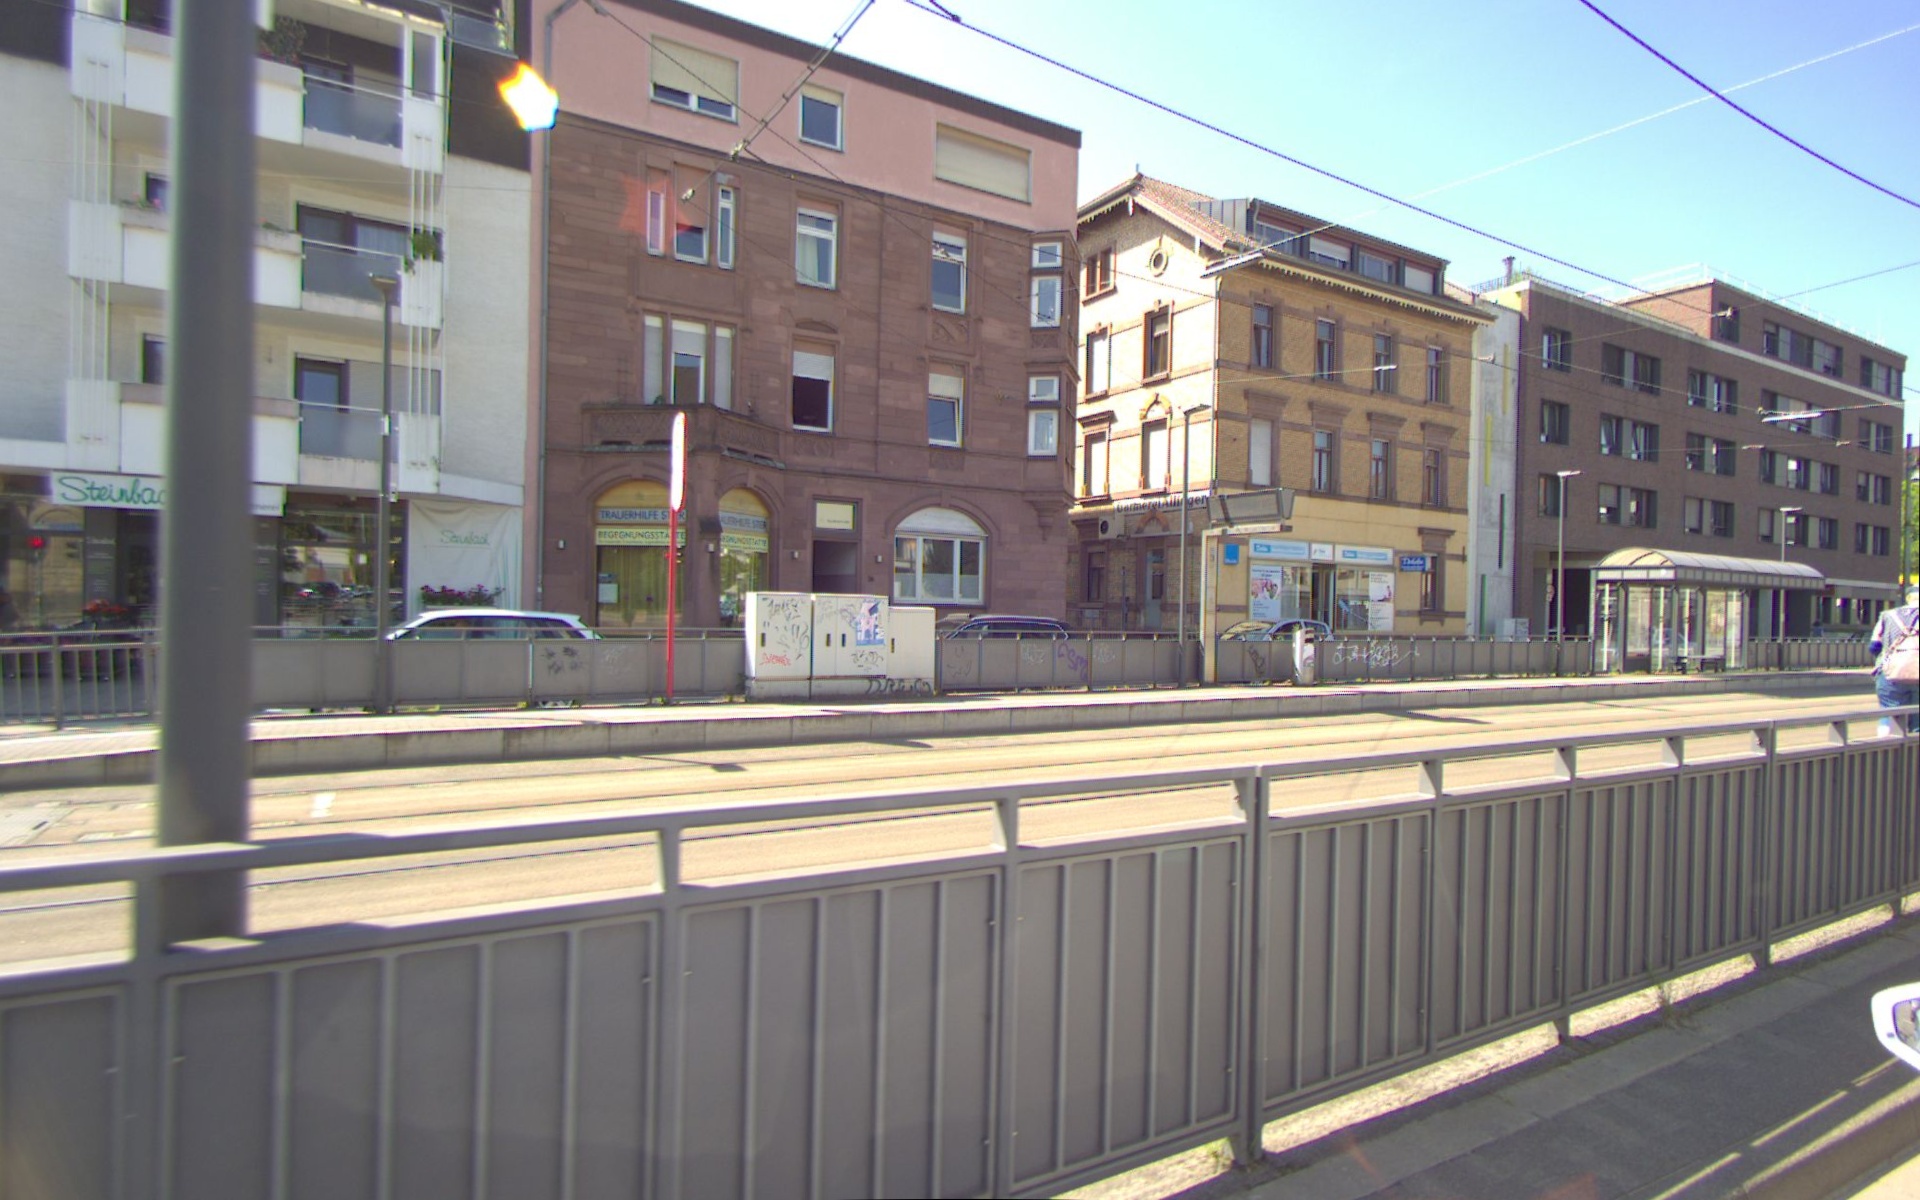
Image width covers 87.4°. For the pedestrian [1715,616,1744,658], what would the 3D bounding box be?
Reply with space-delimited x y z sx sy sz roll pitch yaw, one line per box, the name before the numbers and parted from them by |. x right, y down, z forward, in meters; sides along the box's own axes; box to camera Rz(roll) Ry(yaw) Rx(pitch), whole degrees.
pedestrian | 34.056 1.621 44.468 0.953 1.814 0.721 1 -1 -31

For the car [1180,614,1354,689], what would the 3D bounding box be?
car | 6.646 1.079 21.666 3.697 1.478 1.564 1 0 -32

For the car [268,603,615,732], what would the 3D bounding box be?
car | -6.850 0.841 13.487 3.919 1.450 1.616 2 1 -33

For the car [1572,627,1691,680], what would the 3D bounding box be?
car | 20.434 1.584 30.520 3.891 1.478 1.564 1 0 -32

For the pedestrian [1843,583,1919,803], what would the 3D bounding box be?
pedestrian | 8.326 0.785 8.669 0.823 1.833 0.823 1 0 -30

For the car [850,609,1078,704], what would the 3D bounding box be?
car | 0.122 0.933 17.561 3.775 1.478 1.563 1 0 -34

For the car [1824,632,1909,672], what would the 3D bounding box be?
car | 35.743 2.018 39.582 3.697 1.478 1.564 1 0 -32
